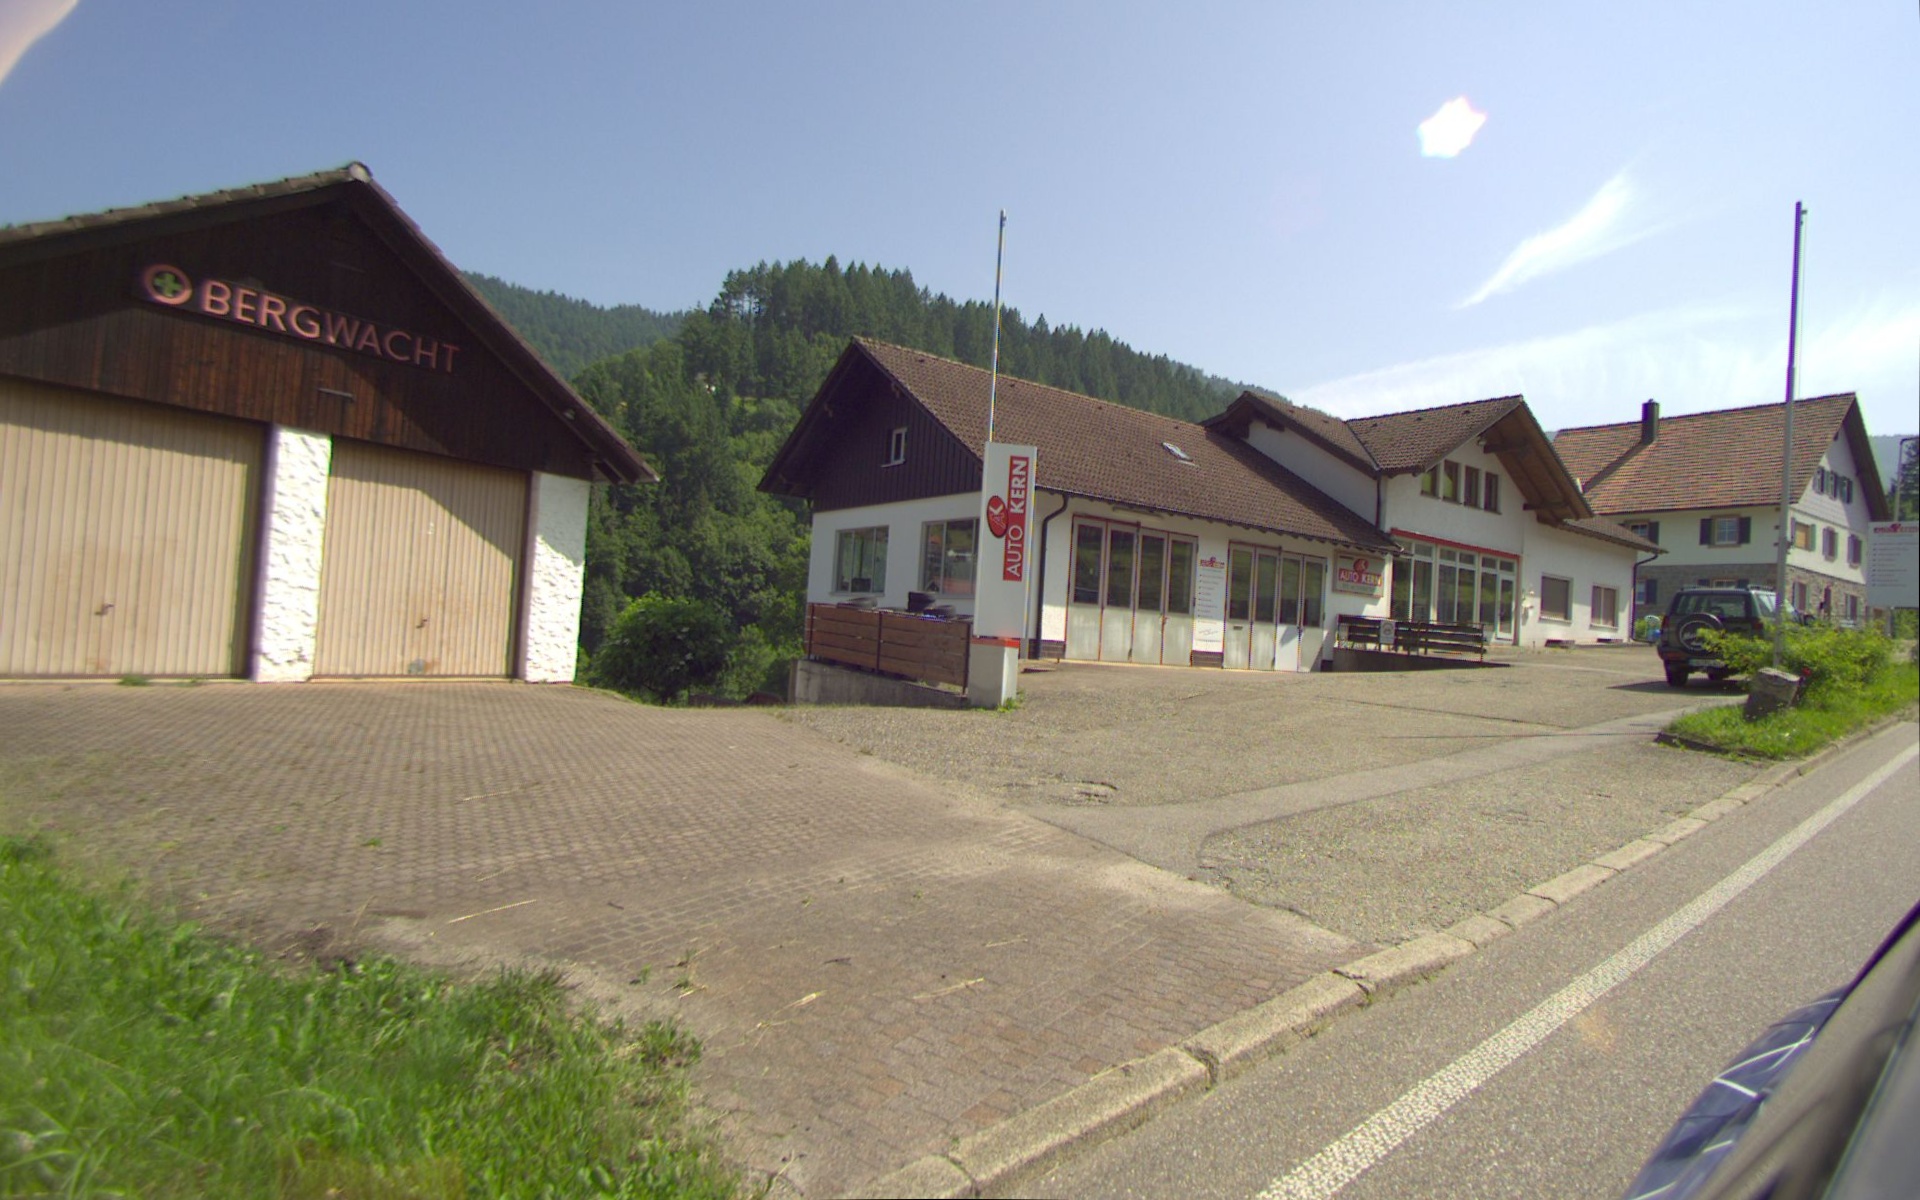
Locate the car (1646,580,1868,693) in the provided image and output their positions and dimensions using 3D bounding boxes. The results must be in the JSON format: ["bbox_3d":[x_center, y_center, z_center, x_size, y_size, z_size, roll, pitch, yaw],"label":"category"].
[{"bbox_3d":[14.710,0.586,18.613,4.572,1.836,1.815,0,1,-33],"label":"car"}]
